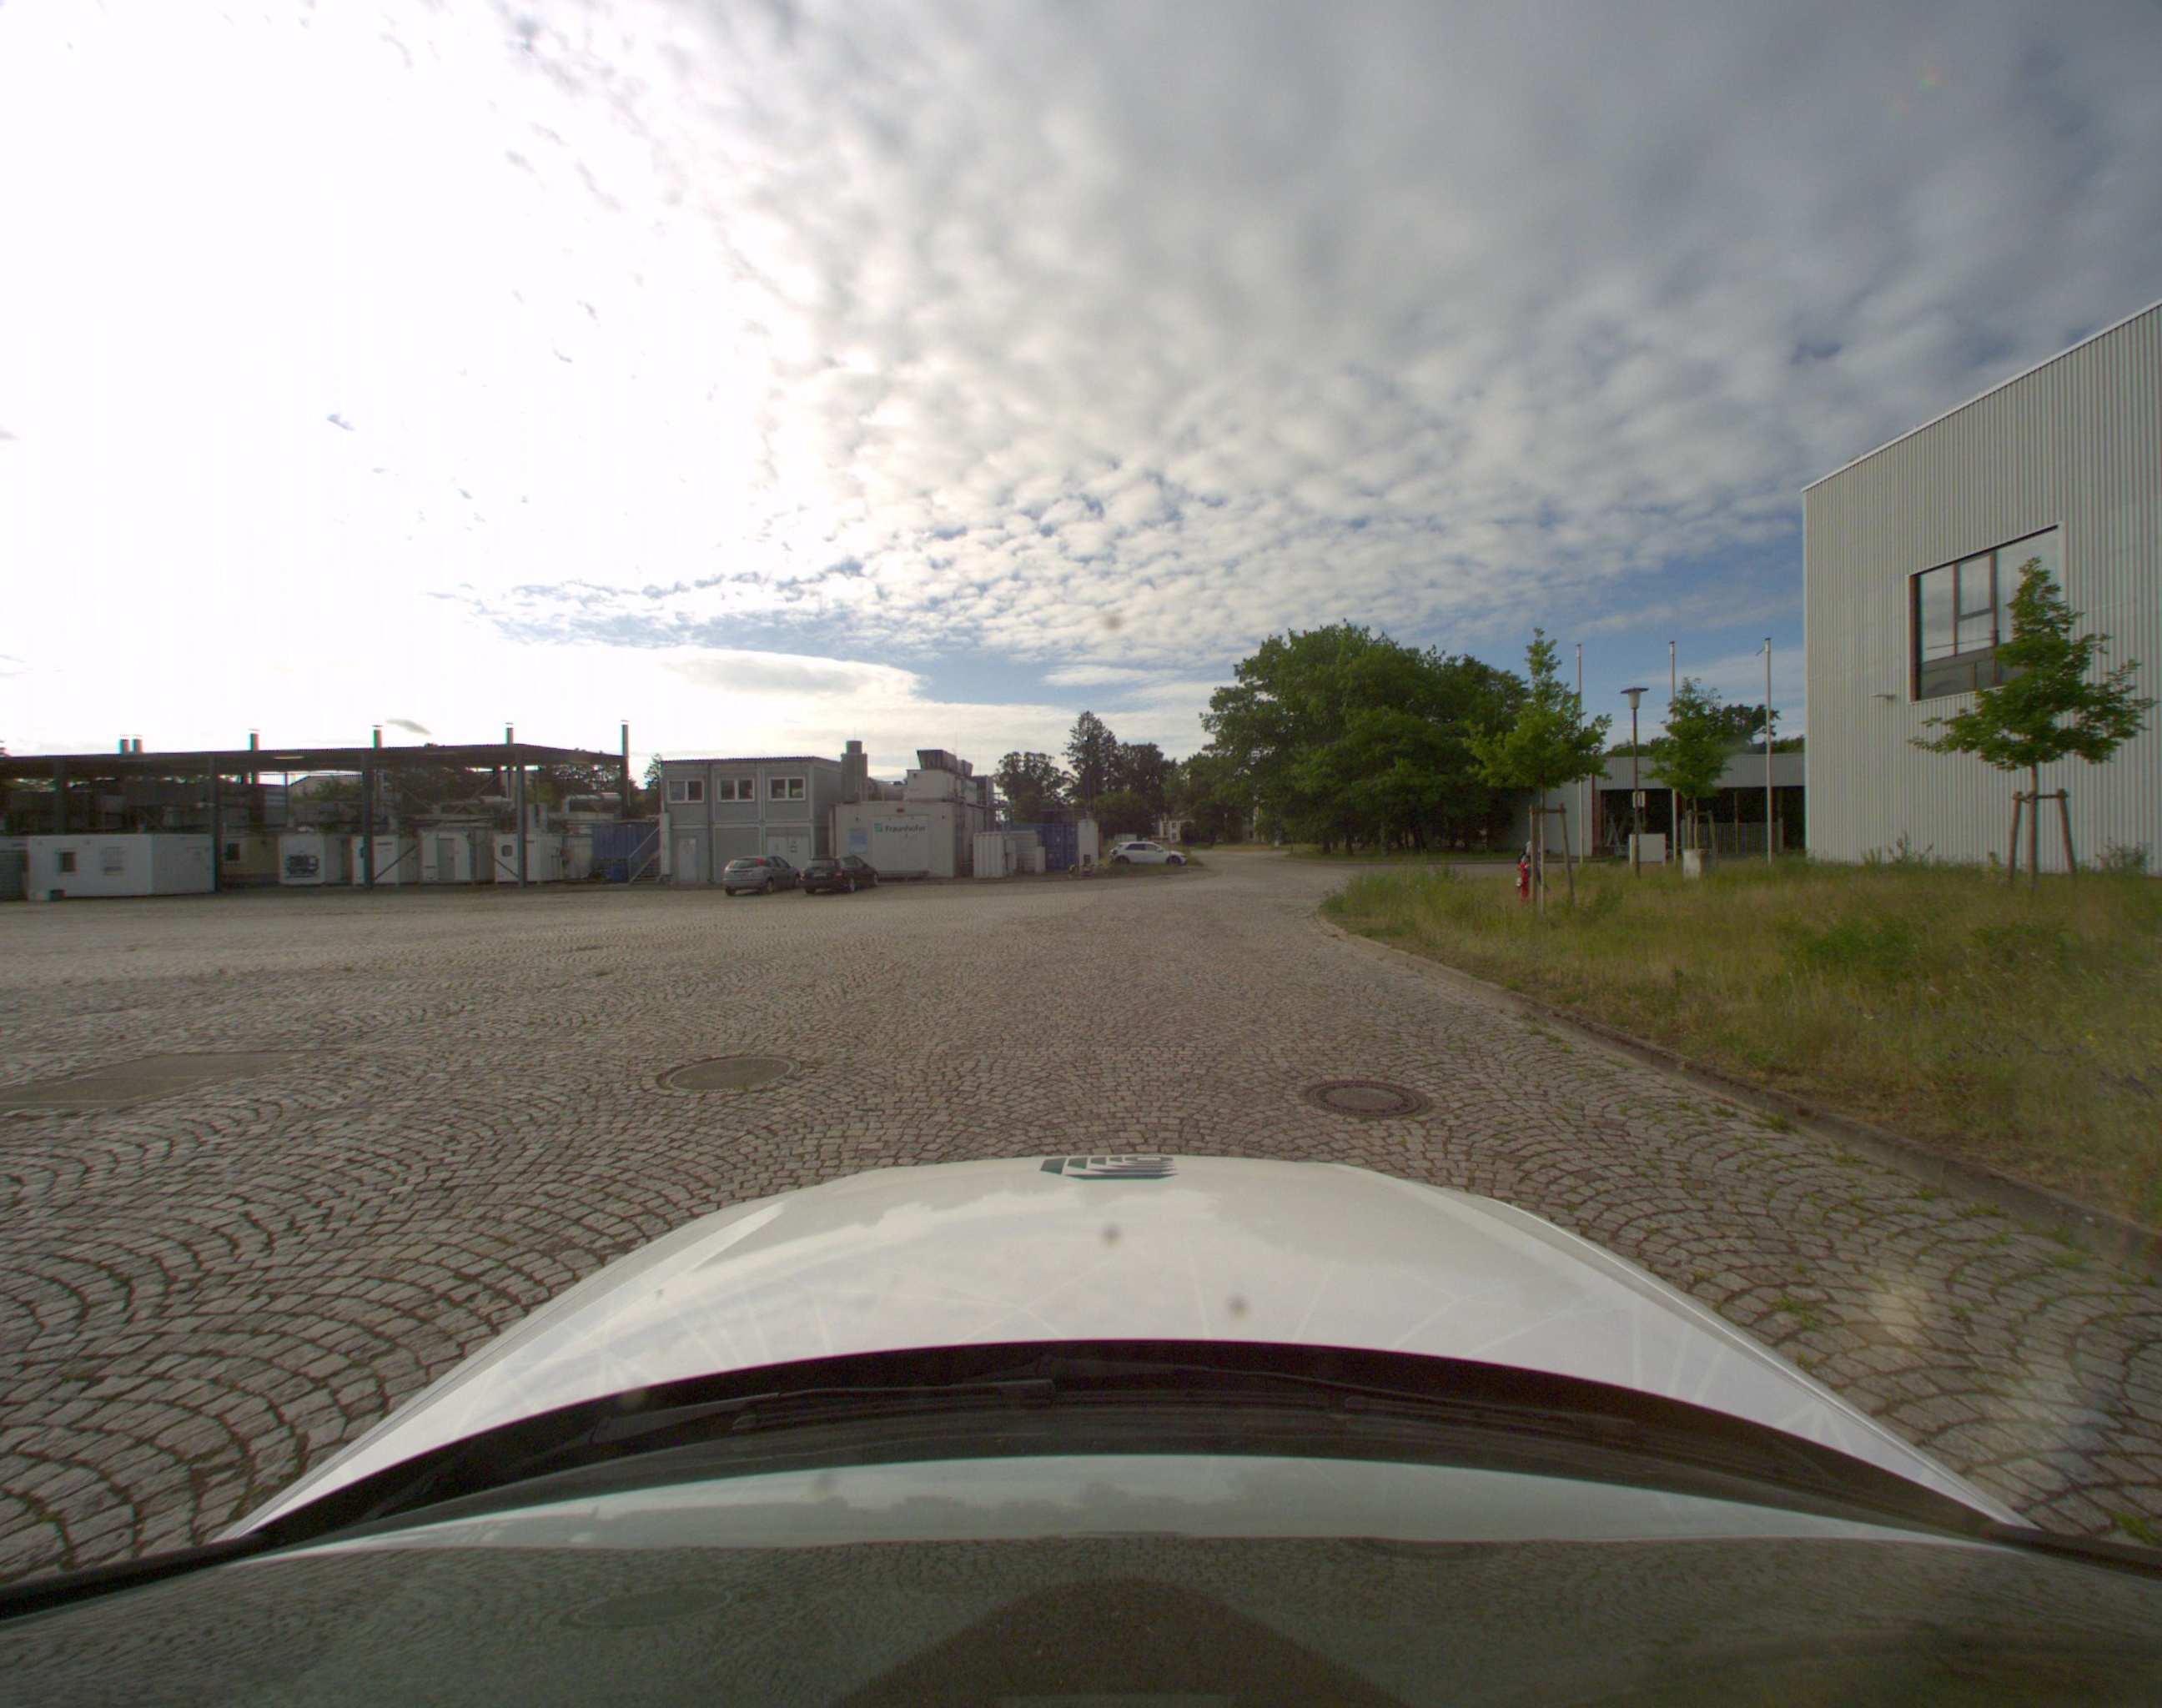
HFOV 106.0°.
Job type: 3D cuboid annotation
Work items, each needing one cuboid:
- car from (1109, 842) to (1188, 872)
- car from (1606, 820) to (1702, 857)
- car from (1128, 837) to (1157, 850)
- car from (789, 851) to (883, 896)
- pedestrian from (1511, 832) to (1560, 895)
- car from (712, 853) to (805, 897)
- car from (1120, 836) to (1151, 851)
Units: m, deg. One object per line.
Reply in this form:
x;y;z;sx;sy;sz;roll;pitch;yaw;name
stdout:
4.031;0.164;48.238;4.511;1.599;2.004;-1;0;6;car
34.498;-0.915;49.238;2.232;2.013;5.341;-1;0;3;car
11.260;-1.878;149.679;5.148;2.337;2.002;-1;0;3;car
-9.478;0.696;31.937;2.027;1.453;4.535;-1;2;4;car
11.716;0.239;21.030;1.065;1.556;1.081;-1;0;28;pedestrian
-12.627;0.769;32.169;1.899;1.475;4.049;-1;2;2;car
9.411;-1.820;140.200;5.148;2.337;2.002;-1;0;3;car
